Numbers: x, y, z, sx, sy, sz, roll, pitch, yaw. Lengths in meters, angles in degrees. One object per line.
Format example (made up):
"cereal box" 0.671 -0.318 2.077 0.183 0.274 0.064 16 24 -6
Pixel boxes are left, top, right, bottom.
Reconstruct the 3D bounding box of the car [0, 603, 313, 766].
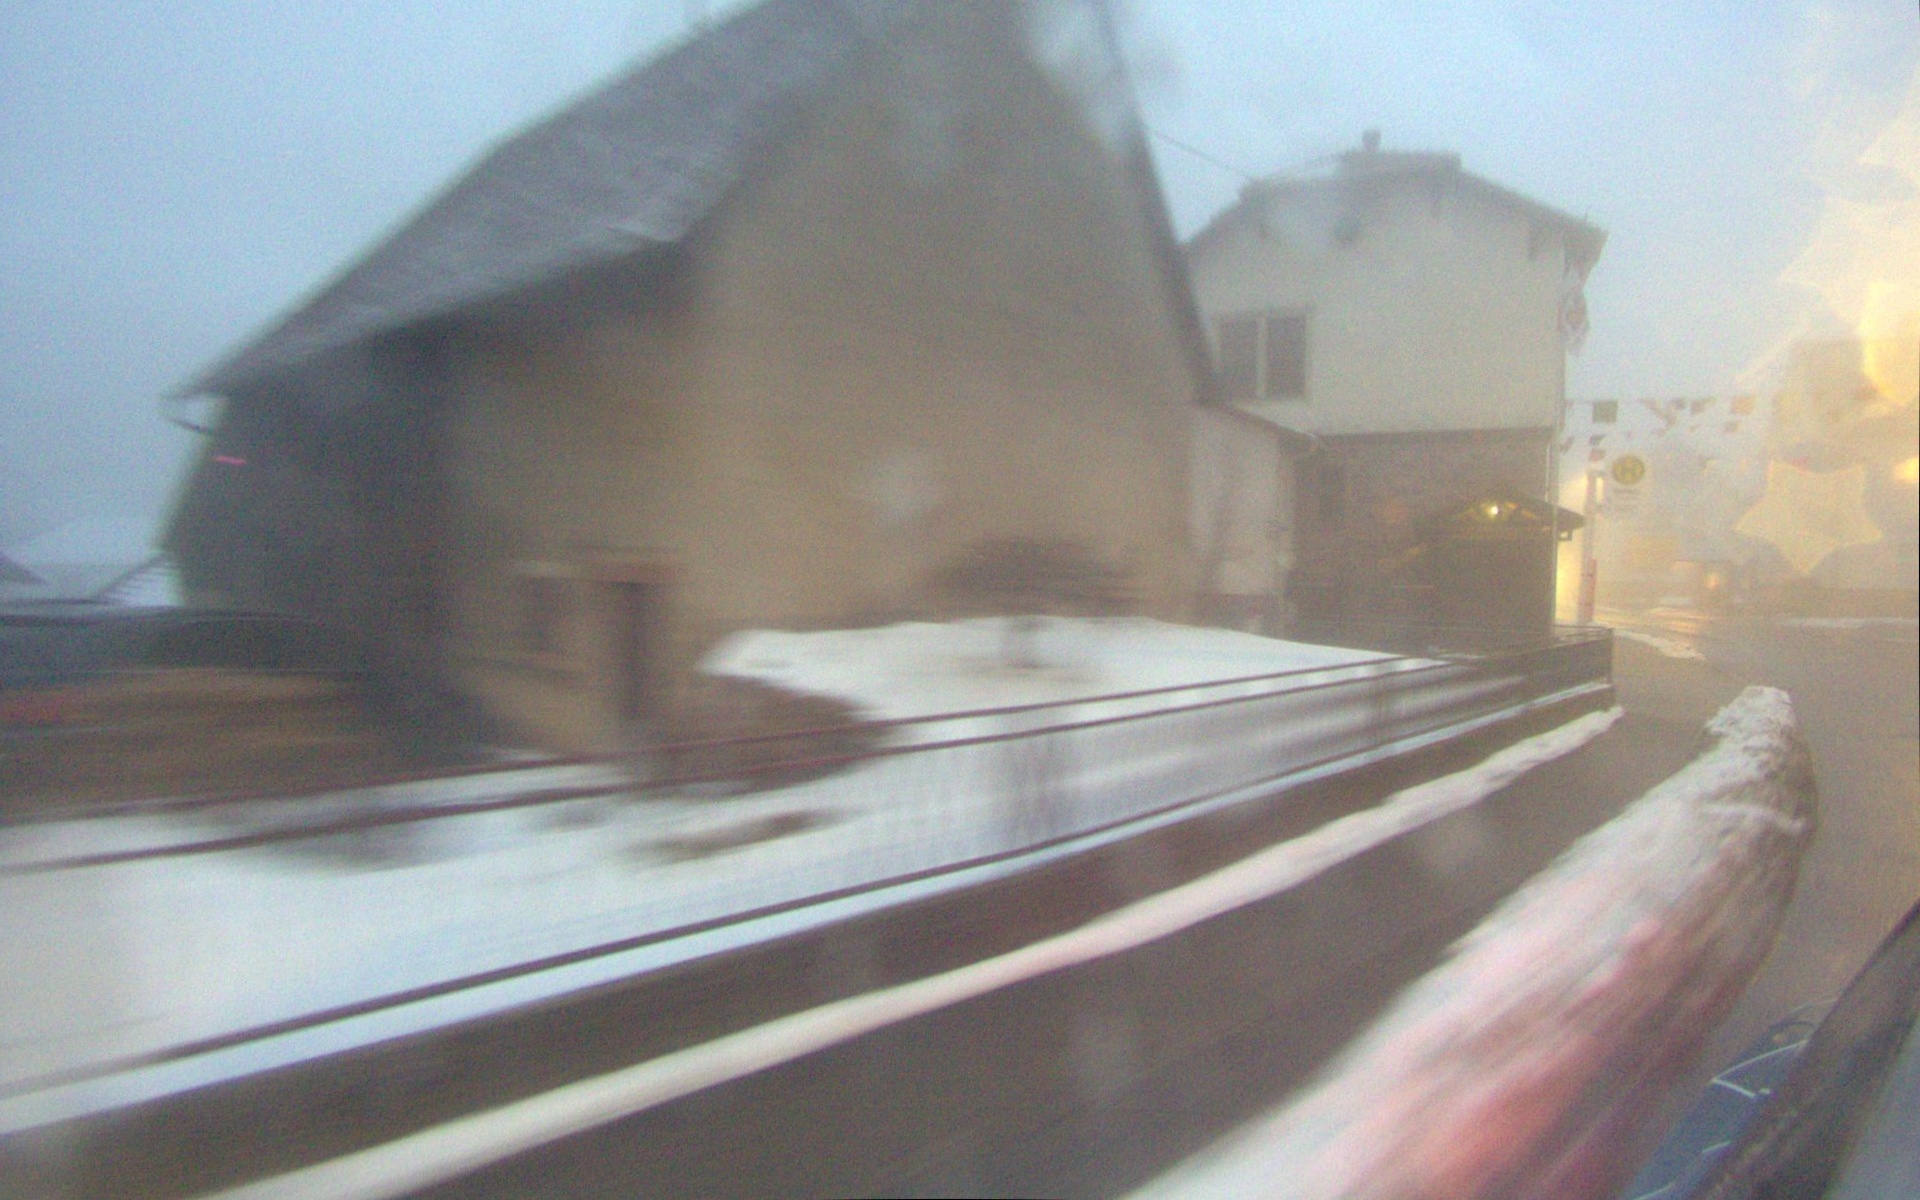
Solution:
"car" -8.444 0.773 10.294 1.647 1.378 3.391 -1 -2 -2

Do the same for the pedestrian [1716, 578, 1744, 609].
"pedestrian" 34.036 -0.293 44.728 0.800 1.346 0.656 0 1 21

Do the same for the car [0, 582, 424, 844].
"car" -5.774 0.667 7.382 1.724 1.391 4.000 -1 -2 -2
